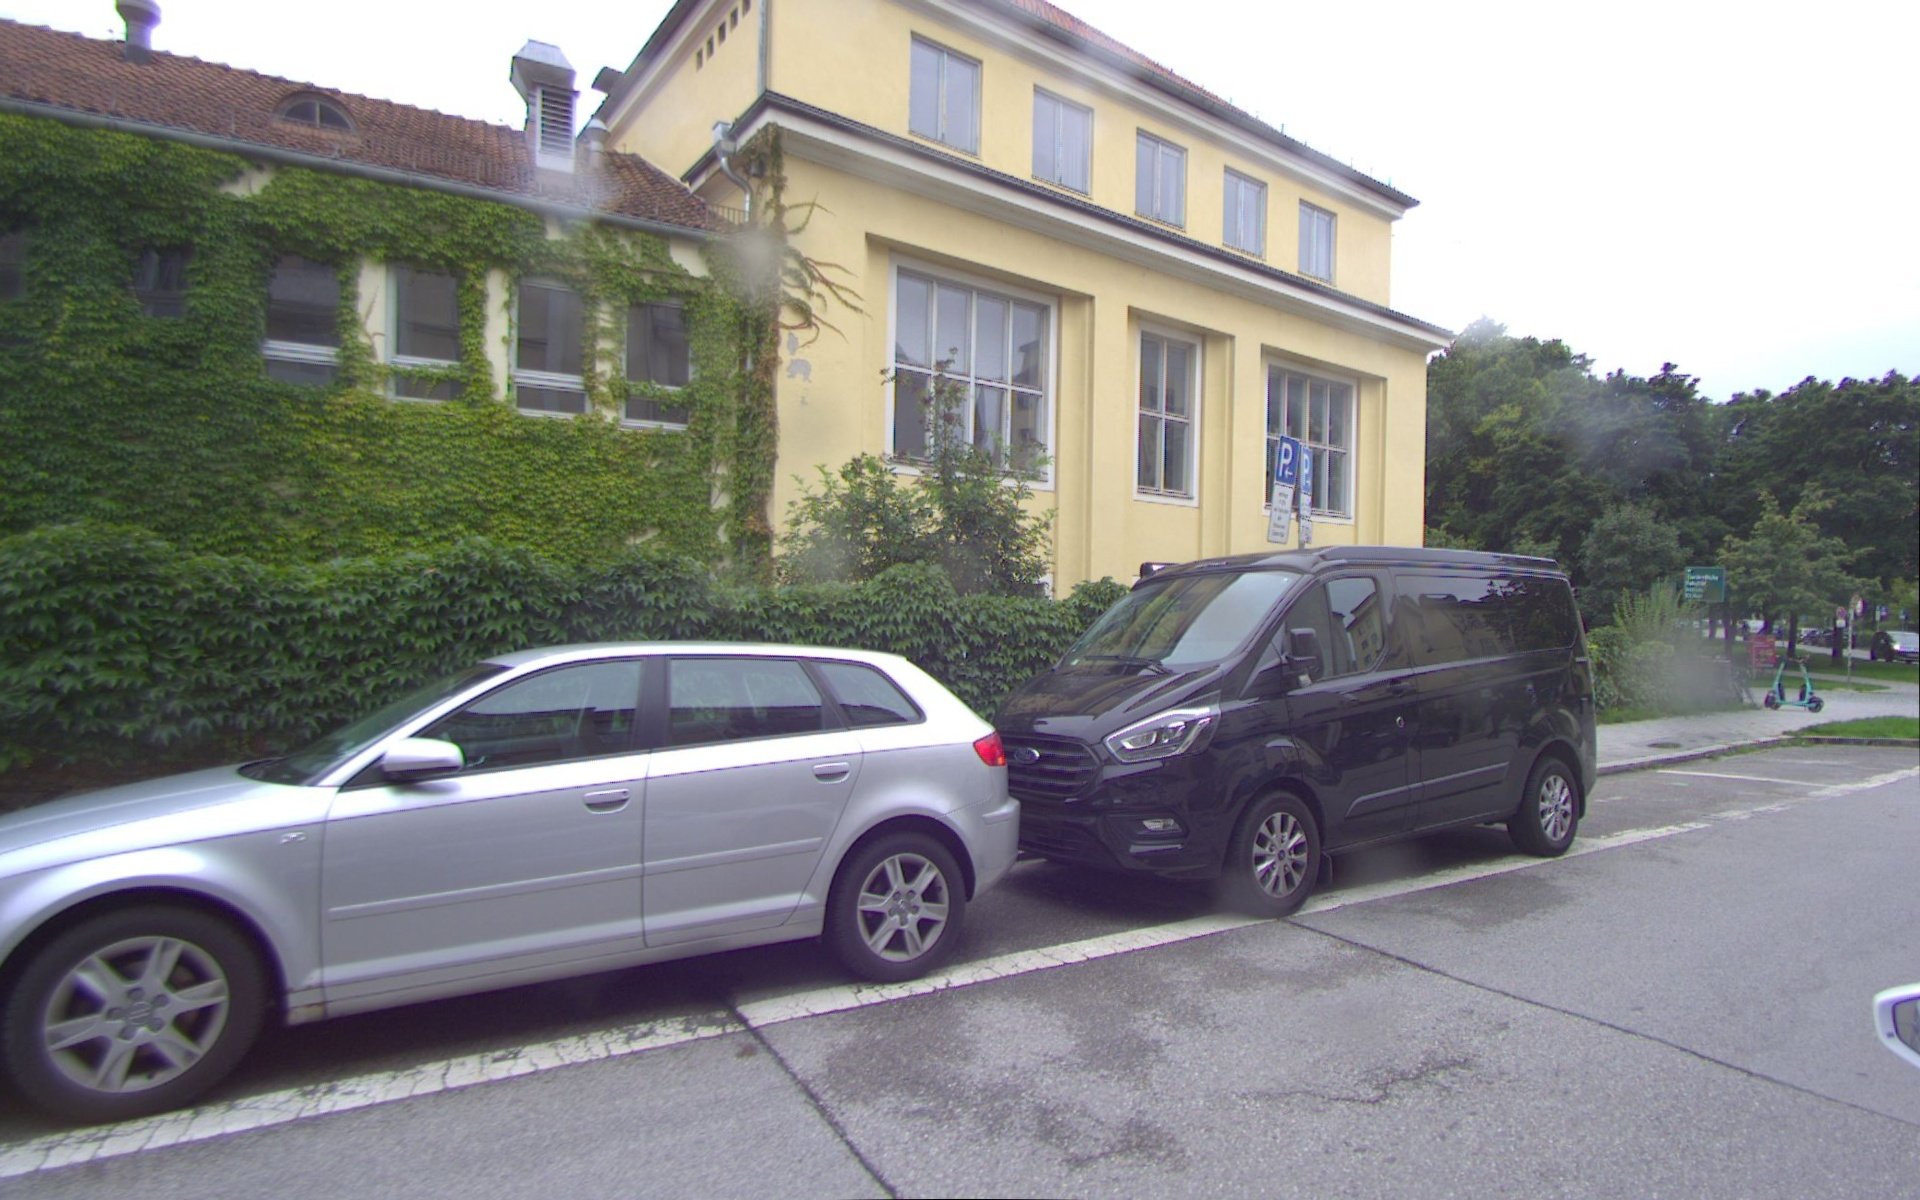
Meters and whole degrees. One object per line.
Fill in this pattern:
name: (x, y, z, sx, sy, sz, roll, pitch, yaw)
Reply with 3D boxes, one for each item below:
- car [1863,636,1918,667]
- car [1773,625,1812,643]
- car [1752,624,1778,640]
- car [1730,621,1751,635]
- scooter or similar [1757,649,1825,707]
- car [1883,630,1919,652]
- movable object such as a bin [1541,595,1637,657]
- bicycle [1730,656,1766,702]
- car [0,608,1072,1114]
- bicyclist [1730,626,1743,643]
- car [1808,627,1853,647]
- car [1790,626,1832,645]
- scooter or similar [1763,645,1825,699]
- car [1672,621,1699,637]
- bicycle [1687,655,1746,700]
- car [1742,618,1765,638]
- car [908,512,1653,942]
car: (52.020, 2.845, 56.219, 1.890, 1.490, 3.984, 2, 0, 38)
car: (78.227, 3.199, 94.407, 1.963, 1.627, 3.995, 1, -1, 27)
car: (86.117, 3.381, 107.471, 1.968, 1.627, 3.985, 1, -1, 37)
car: (97.078, 3.486, 125.004, 1.968, 1.627, 3.985, 1, -1, 37)
scooter or similar: (18.764, 1.744, 22.697, 0.340, 1.204, 1.112, 1, 0, -25)
car: (63.610, 2.745, 67.099, 1.964, 1.390, 3.993, 1, -1, 29)
movable object such as a bin: (34.098, 1.421, 54.525, 3.922, 3.256, 2.000, 1, -1, -1)
bicycle: (18.039, 1.798, 23.001, 0.534, 0.987, 1.151, 1, -1, 34)
car: (-1.839, 0.818, 4.271, 4.445, 1.411, 1.688, 1, -5, -29)
bicyclist: (70.051, 3.096, 90.643, 0.783, 1.490, 0.892, 2, 0, 30)
car: (73.079, 3.081, 84.375, 1.963, 1.627, 3.995, 1, -1, 27)
car: (75.660, 3.140, 89.383, 1.963, 1.627, 3.995, 1, -1, 27)
scooter or similar: (19.321, 1.664, 23.265, 1.097, 1.204, 0.345, 1, 0, 2)
car: (80.217, 3.168, 111.138, 1.964, 1.713, 3.993, 0, -1, 29)
bicycle: (18.458, 1.864, 24.535, 0.295, 1.003, 1.585, 1, -1, 3)
car: (91.024, 3.215, 115.242, 1.968, 2.188, 3.985, 1, -1, 37)
car: (2.439, 0.691, 6.979, 5.292, 1.990, 2.061, 2, -3, -33)
